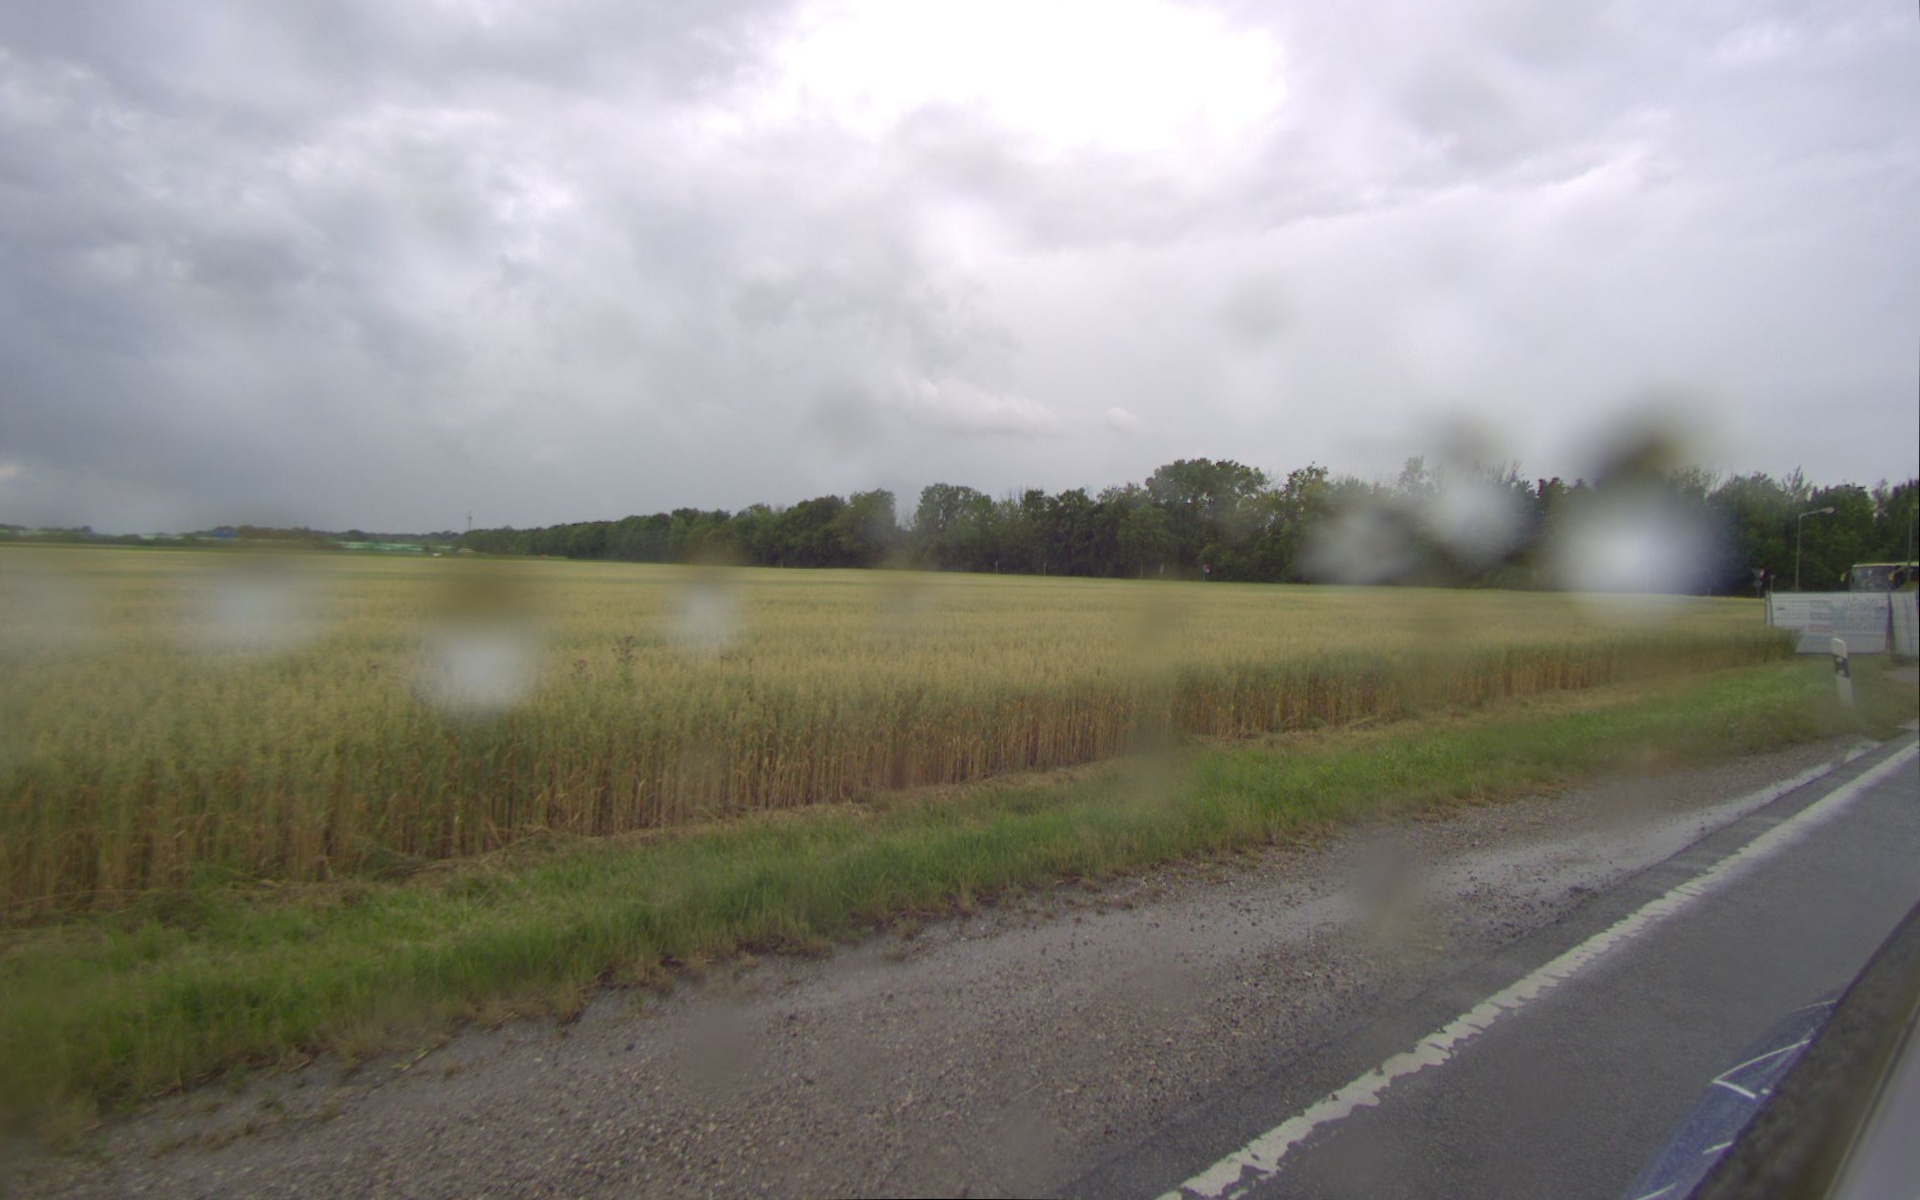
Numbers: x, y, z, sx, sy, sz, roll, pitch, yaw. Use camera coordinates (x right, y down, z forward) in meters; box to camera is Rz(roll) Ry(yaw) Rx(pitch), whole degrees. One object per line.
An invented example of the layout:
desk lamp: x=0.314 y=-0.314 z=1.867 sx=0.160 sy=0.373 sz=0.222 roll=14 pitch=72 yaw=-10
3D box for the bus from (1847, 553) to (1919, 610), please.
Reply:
bus: x=67.857 y=-1.226 z=70.558 sx=13.994 sy=3.731 sz=3.005 roll=1 pitch=2 yaw=-22
